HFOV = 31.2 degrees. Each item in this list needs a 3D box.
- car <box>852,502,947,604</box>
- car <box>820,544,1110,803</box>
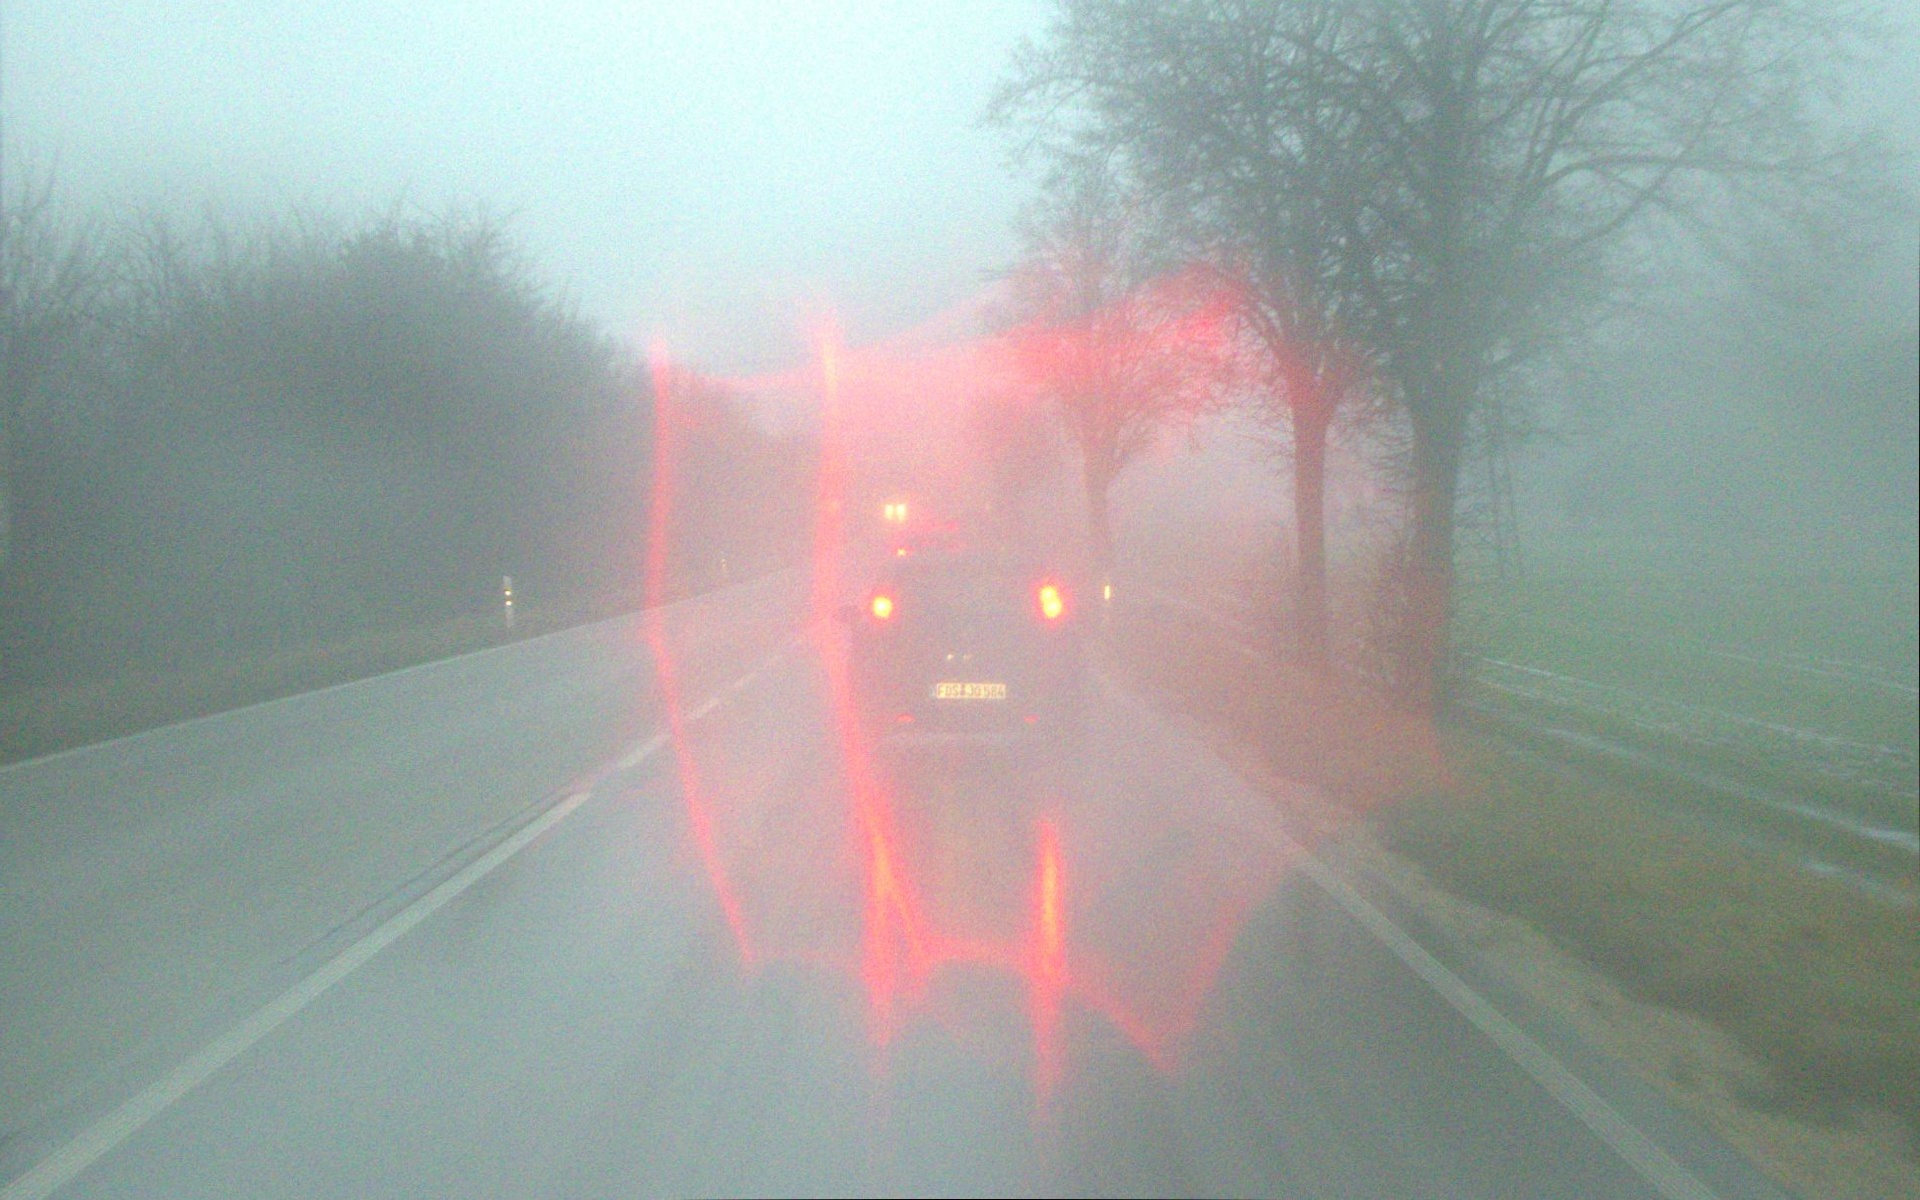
[{"bbox_3d":[-1.415,-1.140,81.877,1.993,2.006,4.001,4,5,1],"label":"car"},{"bbox_3d":[0.033,0.473,25.627,1.993,1.746,4.000,0,1,0],"label":"car"}]
